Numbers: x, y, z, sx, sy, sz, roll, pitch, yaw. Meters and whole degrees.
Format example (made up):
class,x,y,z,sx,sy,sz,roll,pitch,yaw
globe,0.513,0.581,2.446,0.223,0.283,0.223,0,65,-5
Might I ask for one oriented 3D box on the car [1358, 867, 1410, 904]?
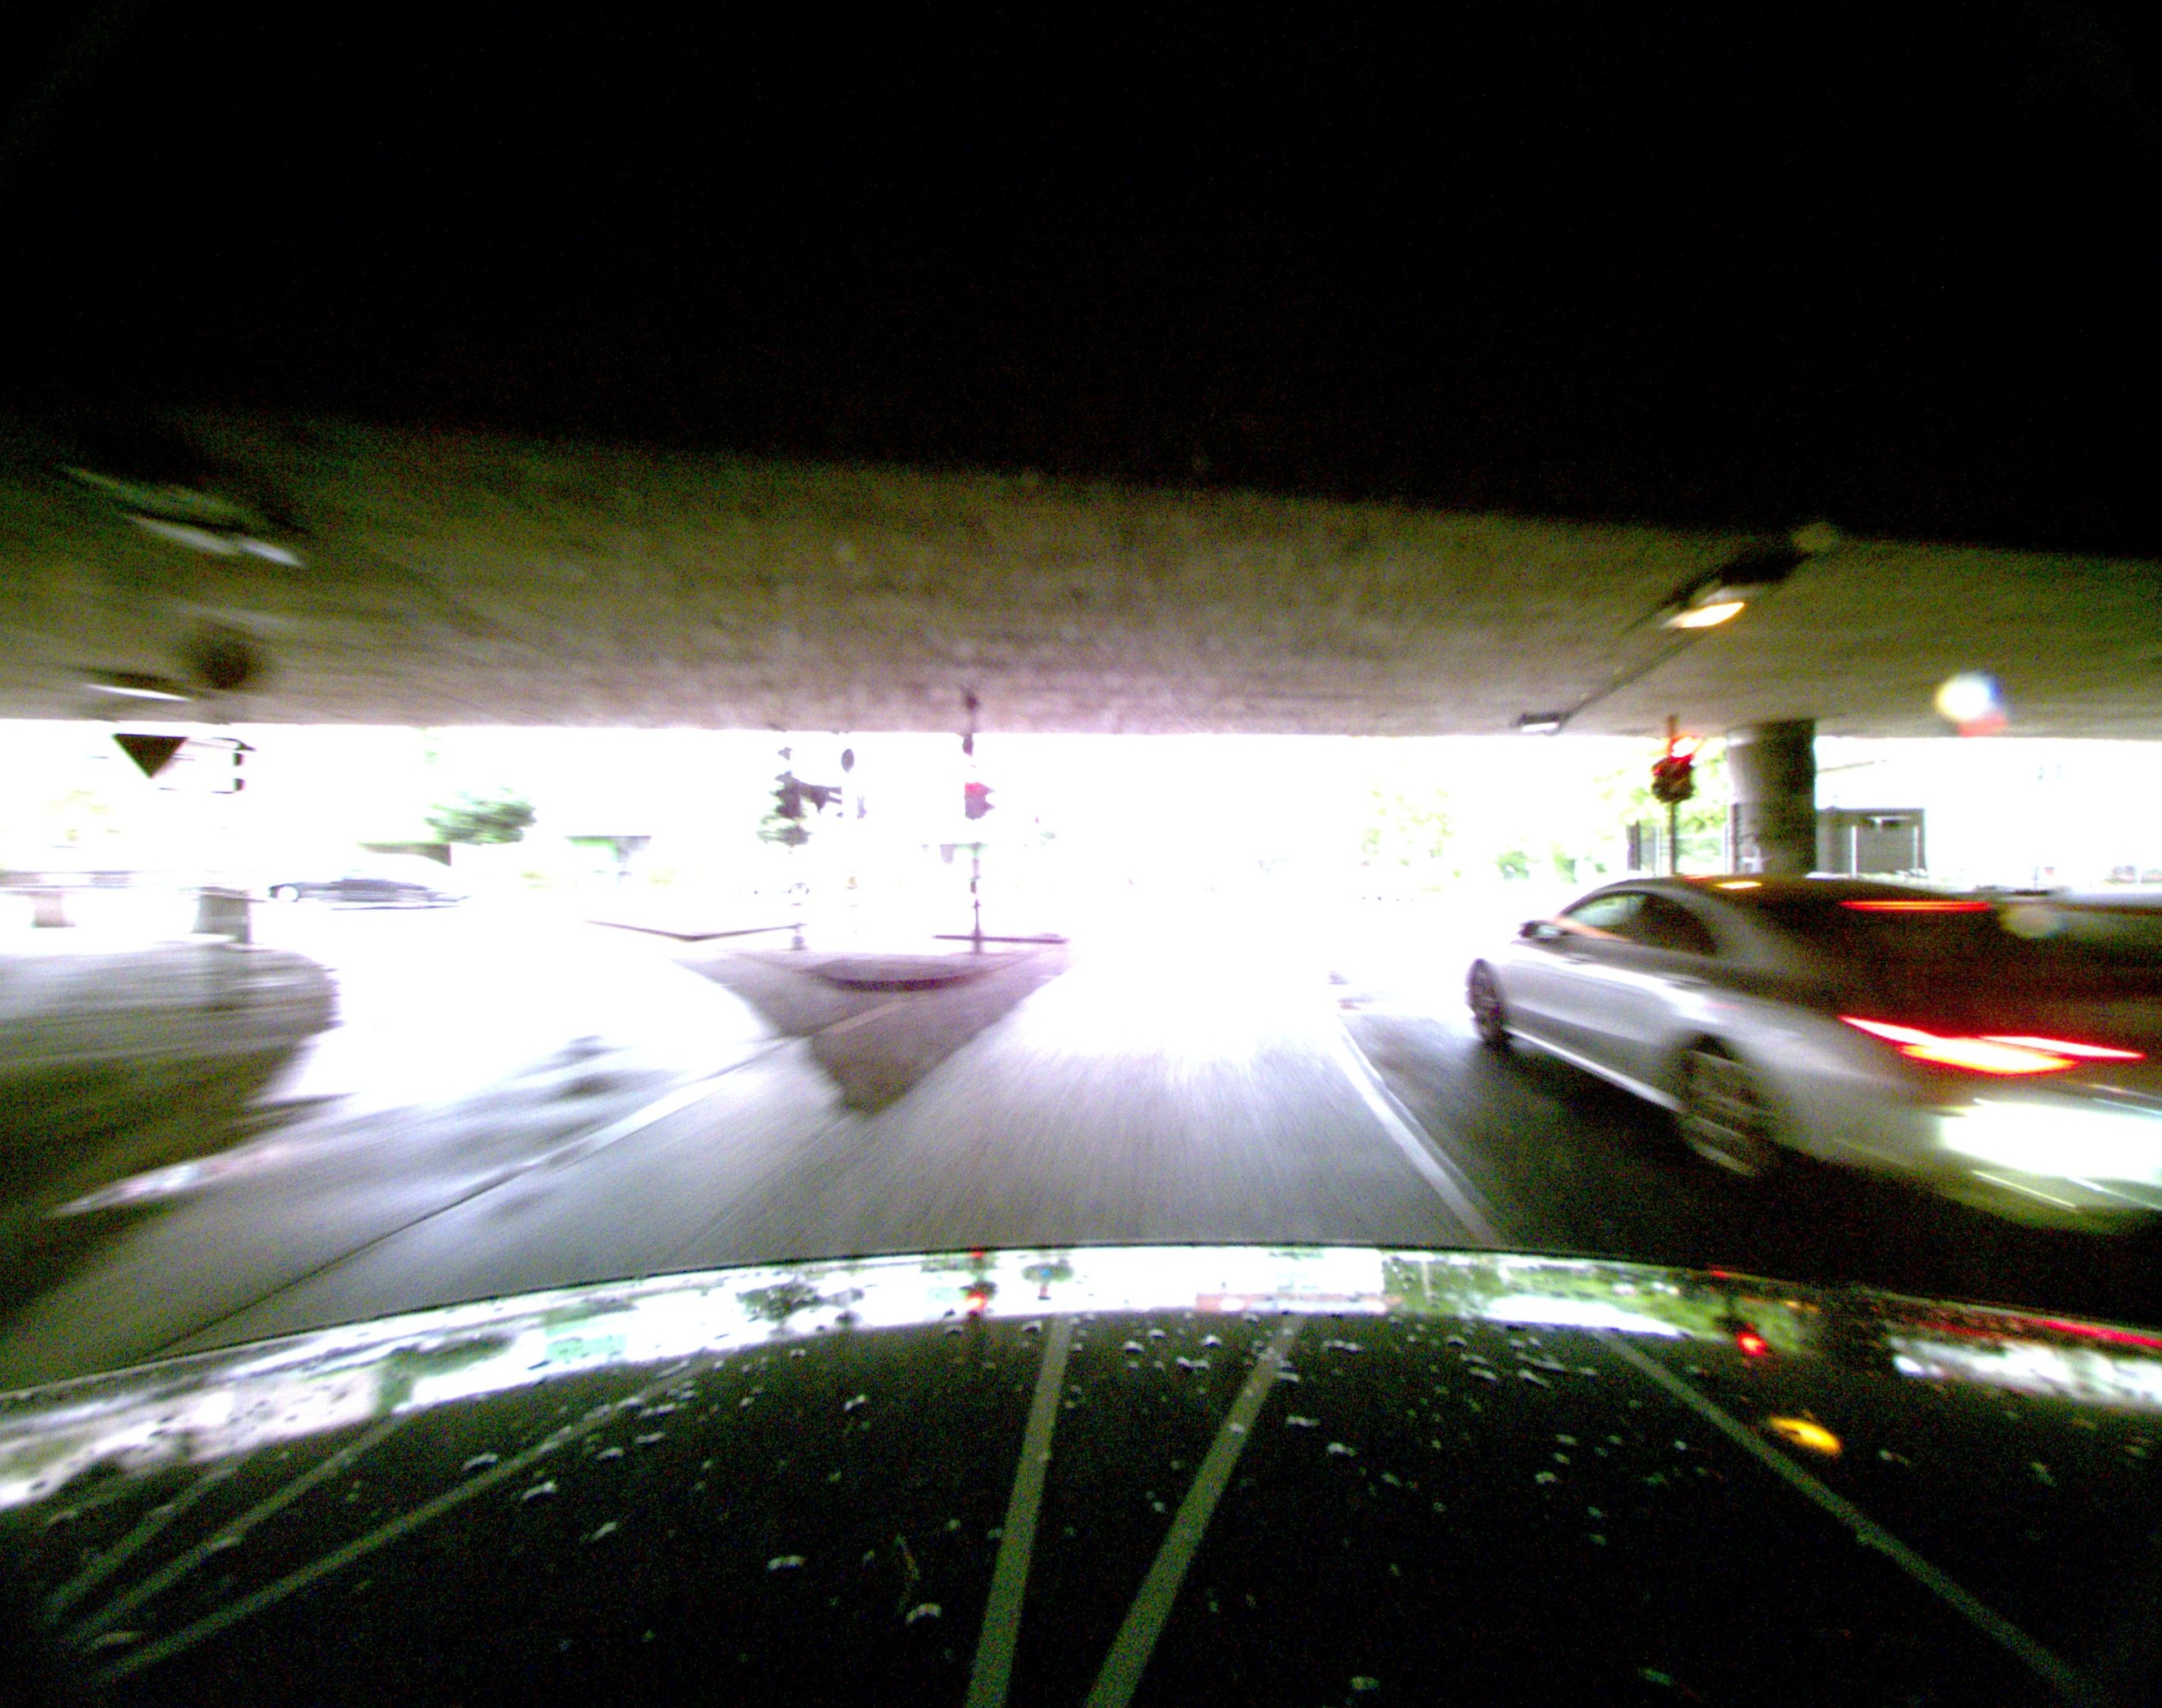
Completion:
class,x,y,z,sx,sy,sz,roll,pitch,yaw
car,13.734,1.394,34.313,1.704,1.548,4.009,-1,-2,28

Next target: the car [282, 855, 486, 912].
class,x,y,z,sx,sy,sz,roll,pitch,yaw
car,-20.449,0.835,22.439,4.232,1.571,1.768,0,2,-2

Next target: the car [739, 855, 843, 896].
class,x,y,z,sx,sy,sz,roll,pitch,yaw
car,-11.364,0.848,30.015,3.630,1.548,1.644,0,-1,-14

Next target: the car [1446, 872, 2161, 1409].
class,x,y,z,sx,sy,sz,roll,pitch,yaw
car,3.980,0.896,4.411,1.997,1.521,4.503,0,-1,6

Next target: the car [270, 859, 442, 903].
class,x,y,z,sx,sy,sz,roll,pitch,yaw
car,-25.256,0.961,26.636,4.004,1.449,1.643,1,-2,-20
